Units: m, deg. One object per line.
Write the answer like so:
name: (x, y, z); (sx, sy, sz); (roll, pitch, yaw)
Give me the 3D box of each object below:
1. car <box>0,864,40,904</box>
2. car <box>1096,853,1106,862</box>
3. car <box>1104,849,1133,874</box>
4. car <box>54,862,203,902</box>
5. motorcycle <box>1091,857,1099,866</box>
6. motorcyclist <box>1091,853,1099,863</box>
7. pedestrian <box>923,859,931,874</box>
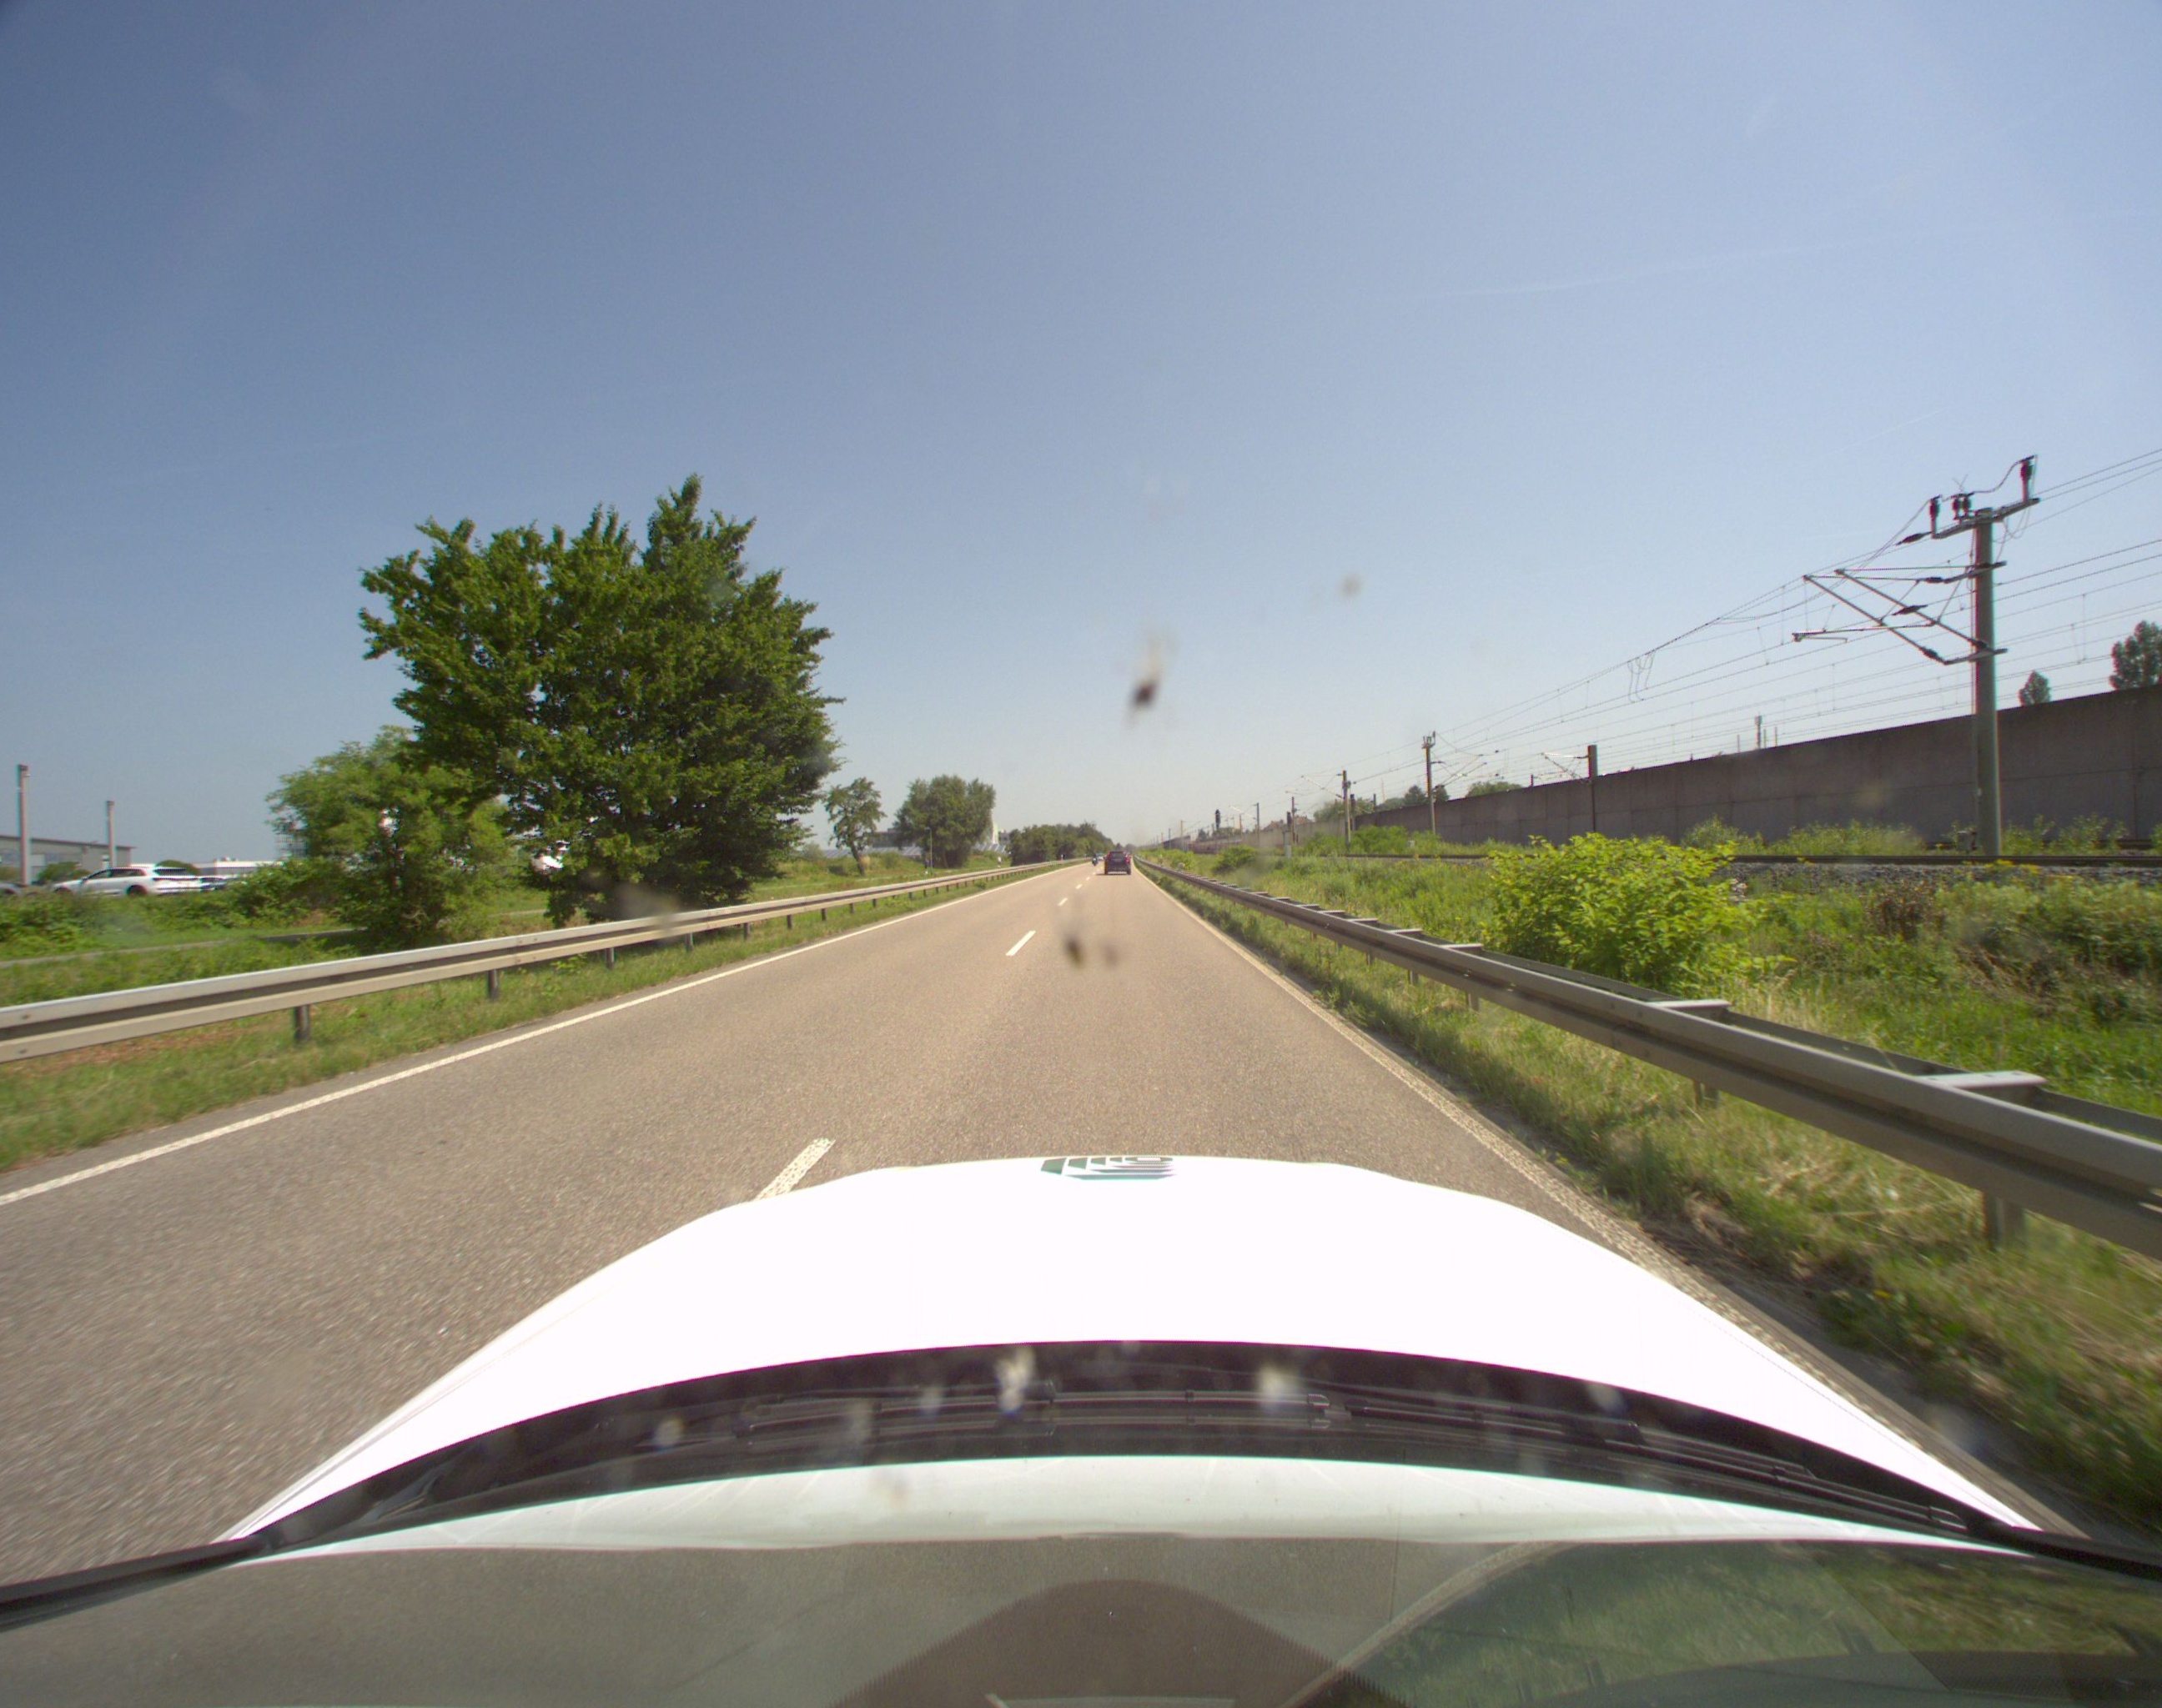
car: (-41.357, 1.170, 29.245); (1.740, 1.437, 4.668); (-3, 0, 3)
car: (3.642, 0.627, 150.192); (1.691, 1.475, 4.690); (0, 0, 3)
car: (2.640, 0.535, 58.345); (1.986, 1.700, 4.001); (-1, 0, 1)
car: (-41.236, 1.205, 35.324); (4.218, 1.437, 1.622); (-3, 0, -5)
motorcycle: (1.758, 0.920, 99.603); (0.924, 1.028, 2.270); (0, 0, 3)
motorcyclist: (1.750, 0.481, 99.583); (0.989, 1.310, 0.936); (0, 0, 2)
pedestrian: (-17.944, 1.480, 95.091); (0.575, 1.750, 0.822); (-3, 0, 7)
